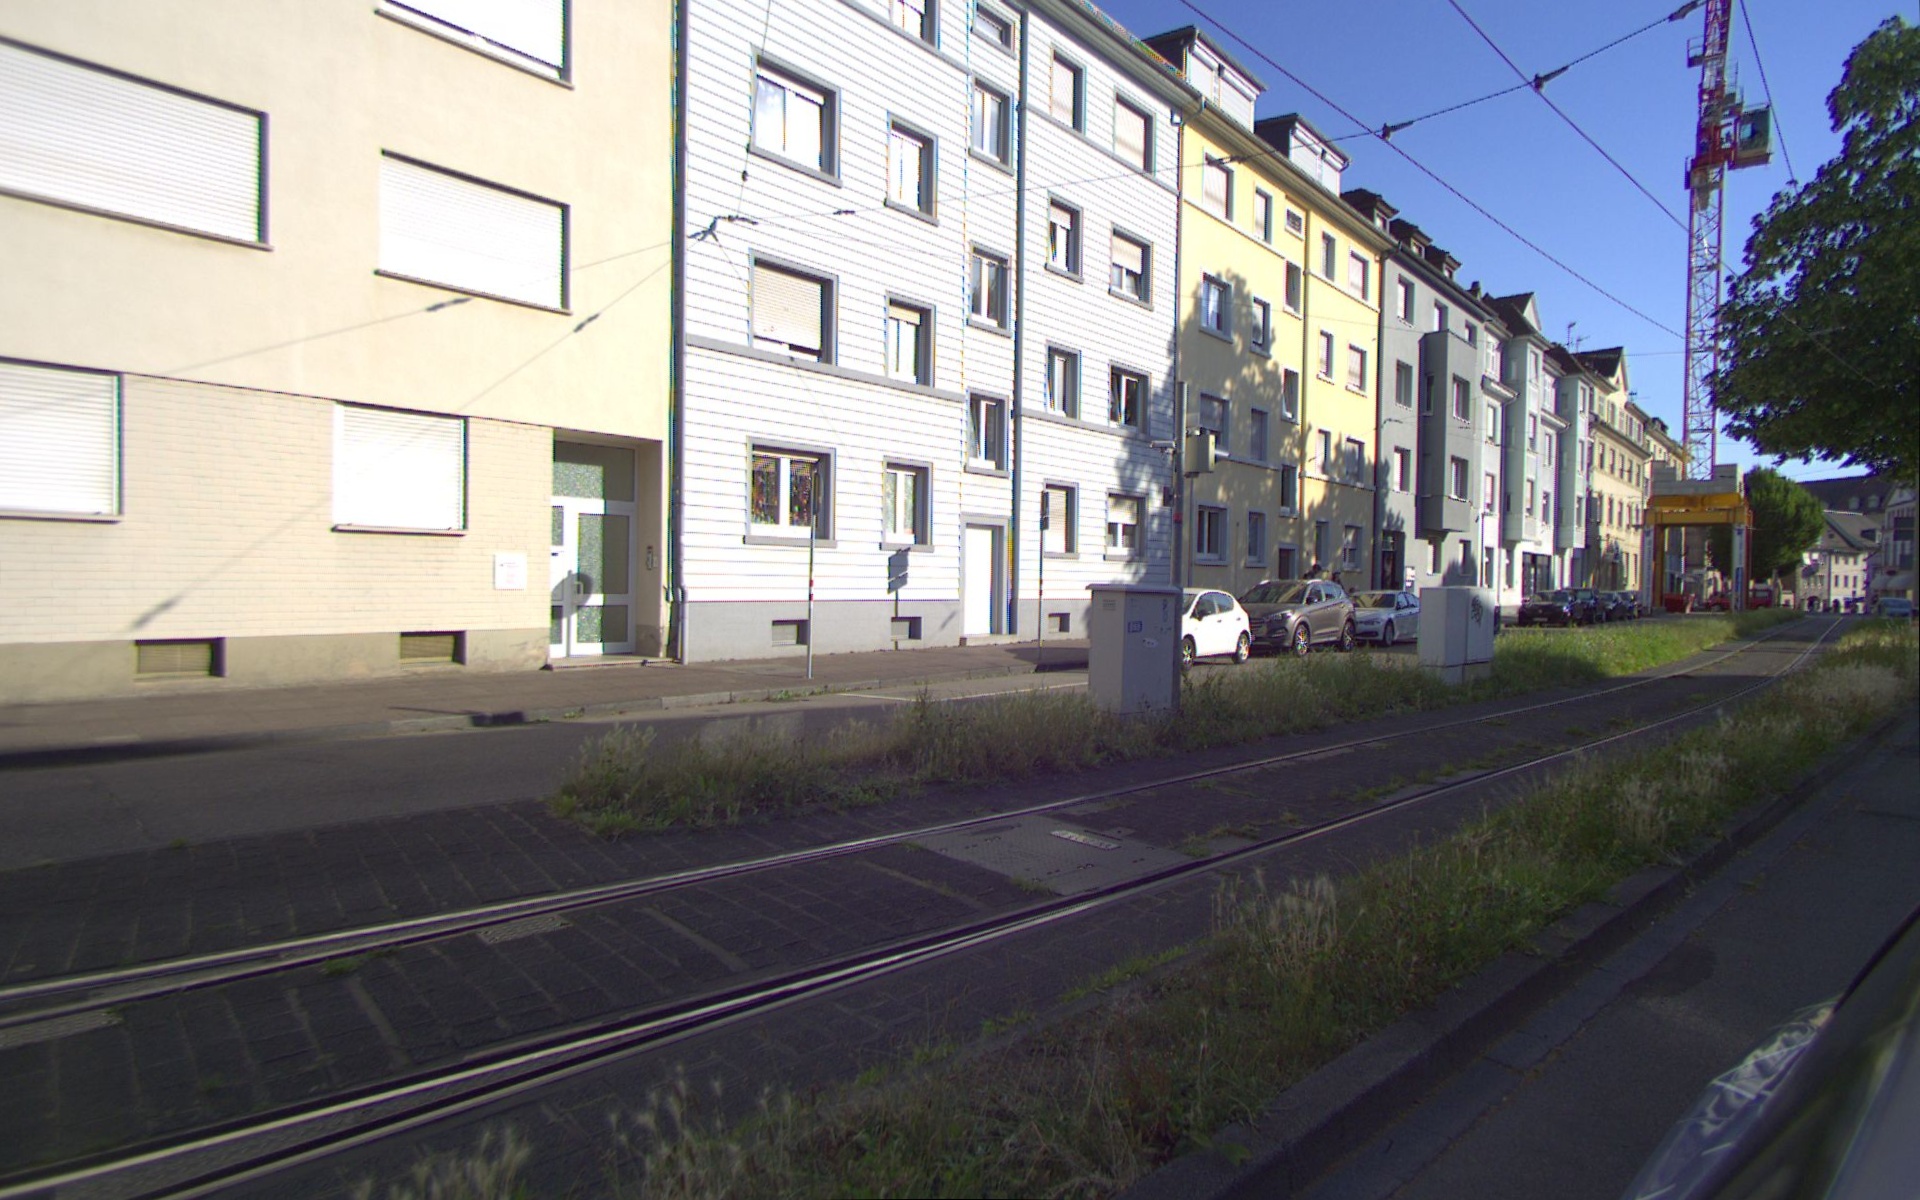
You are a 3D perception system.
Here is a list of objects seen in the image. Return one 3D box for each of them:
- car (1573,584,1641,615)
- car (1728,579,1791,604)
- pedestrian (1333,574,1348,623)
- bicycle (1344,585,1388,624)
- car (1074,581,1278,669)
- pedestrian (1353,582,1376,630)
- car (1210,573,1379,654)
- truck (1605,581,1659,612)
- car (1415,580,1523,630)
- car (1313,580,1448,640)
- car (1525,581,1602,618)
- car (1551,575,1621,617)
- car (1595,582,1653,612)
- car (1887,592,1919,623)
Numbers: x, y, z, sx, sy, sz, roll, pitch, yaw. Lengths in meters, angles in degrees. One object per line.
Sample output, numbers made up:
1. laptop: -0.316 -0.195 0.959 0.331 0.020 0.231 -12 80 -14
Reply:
1. car: 31.699 -0.044 49.544 1.994 1.404 4.142 2 1 44
2. car: 66.947 -0.747 84.770 4.054 1.945 1.971 2 1 40
3. pedestrian: 12.061 -0.057 32.098 0.303 1.533 0.438 2 1 34
4. bicycle: 12.625 0.122 31.460 0.534 1.145 2.274 2 2 41
5. car: 4.145 0.405 18.894 1.990 1.404 4.384 2 1 38
6. pedestrian: 12.447 0.169 31.143 0.523 1.458 0.454 1 1 43
7. car: 7.604 0.223 22.756 1.992 1.591 4.573 2 2 41
8. truck: 38.189 -0.193 57.477 1.992 1.605 4.035 2 1 42
9. car: 15.964 0.134 31.625 1.992 1.404 4.380 2 1 41
10. car: 11.137 0.246 26.651 1.992 1.404 4.380 2 1 41
11. car: 25.052 -0.026 41.951 1.992 1.404 4.380 2 1 41
12. car: 28.363 -0.172 45.806 1.992 1.771 4.146 2 1 41
13. car: 34.951 -0.140 53.227 1.992 1.470 4.035 2 1 42
14. car: 49.935 0.403 52.863 1.992 1.538 4.012 2 1 40
